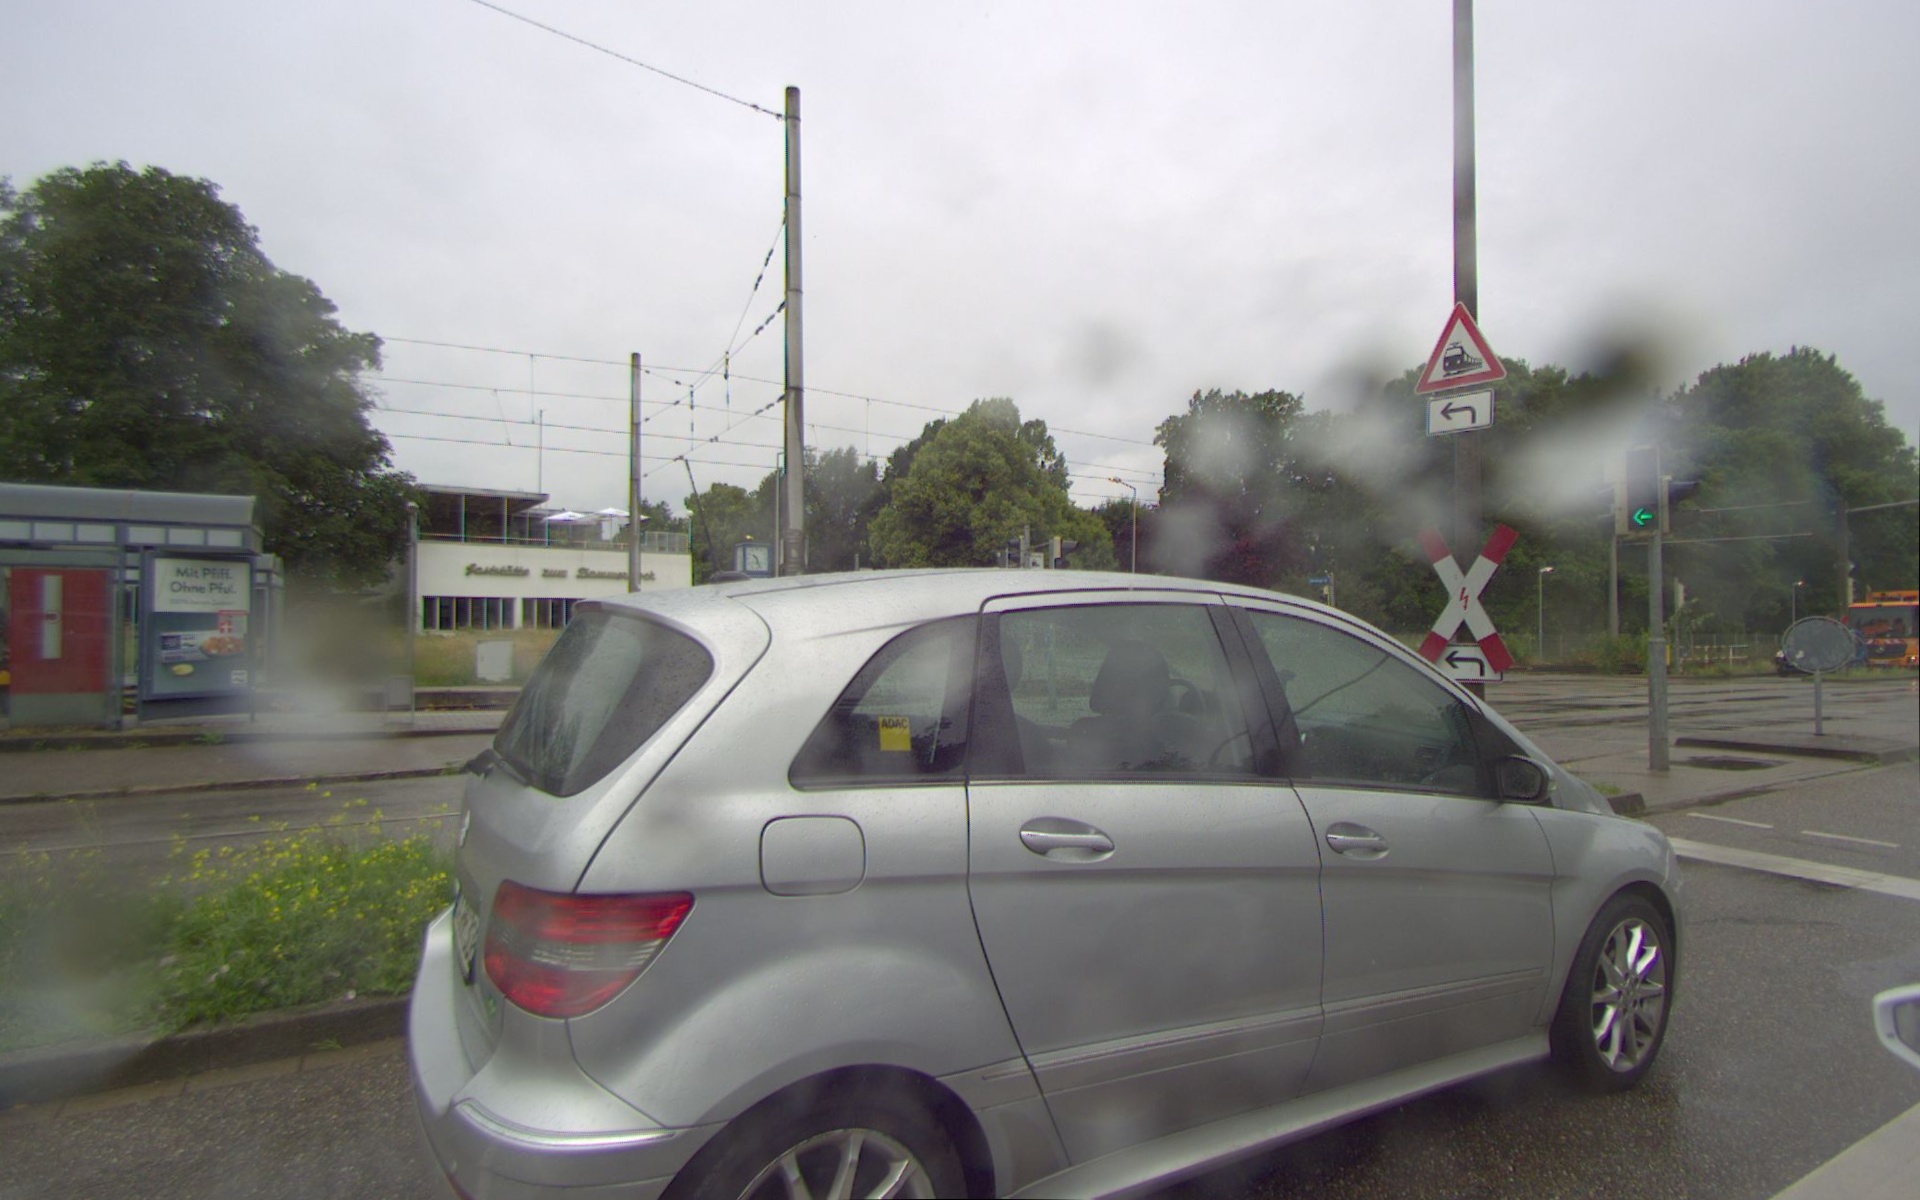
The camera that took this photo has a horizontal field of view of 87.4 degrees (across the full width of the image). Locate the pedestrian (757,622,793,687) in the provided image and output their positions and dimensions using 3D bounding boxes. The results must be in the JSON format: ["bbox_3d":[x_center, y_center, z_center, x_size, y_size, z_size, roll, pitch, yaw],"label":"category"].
[{"bbox_3d":[-4.895,1.428,26.495,0.792,1.679,0.779,1,0,-19],"label":"pedestrian"}]

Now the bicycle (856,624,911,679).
[{"bbox_3d":[-2.549,1.705,33.564,1.714,1.784,0.637,1,-1,-30],"label":"bicycle"}]

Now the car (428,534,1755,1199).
[{"bbox_3d":[0.583,0.737,3.193,3.966,1.564,1.728,1,-1,-30],"label":"car"}]

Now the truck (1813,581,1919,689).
[{"bbox_3d":[40.863,1.471,43.111,10.287,4.223,3.368,2,0,-31],"label":"truck"}]

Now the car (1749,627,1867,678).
[{"bbox_3d":[31.975,1.955,37.869,4.473,1.732,1.984,2,0,-30],"label":"car"}]

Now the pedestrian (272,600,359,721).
[{"bbox_3d":[-9.480,0.872,14.812,0.985,1.698,0.920,1,0,-30],"label":"pedestrian"}]

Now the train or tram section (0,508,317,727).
[{"bbox_3d":[-16.472,0.304,16.978,9.168,3.434,3.517,1,-2,-30],"label":"train or tram section"}]
